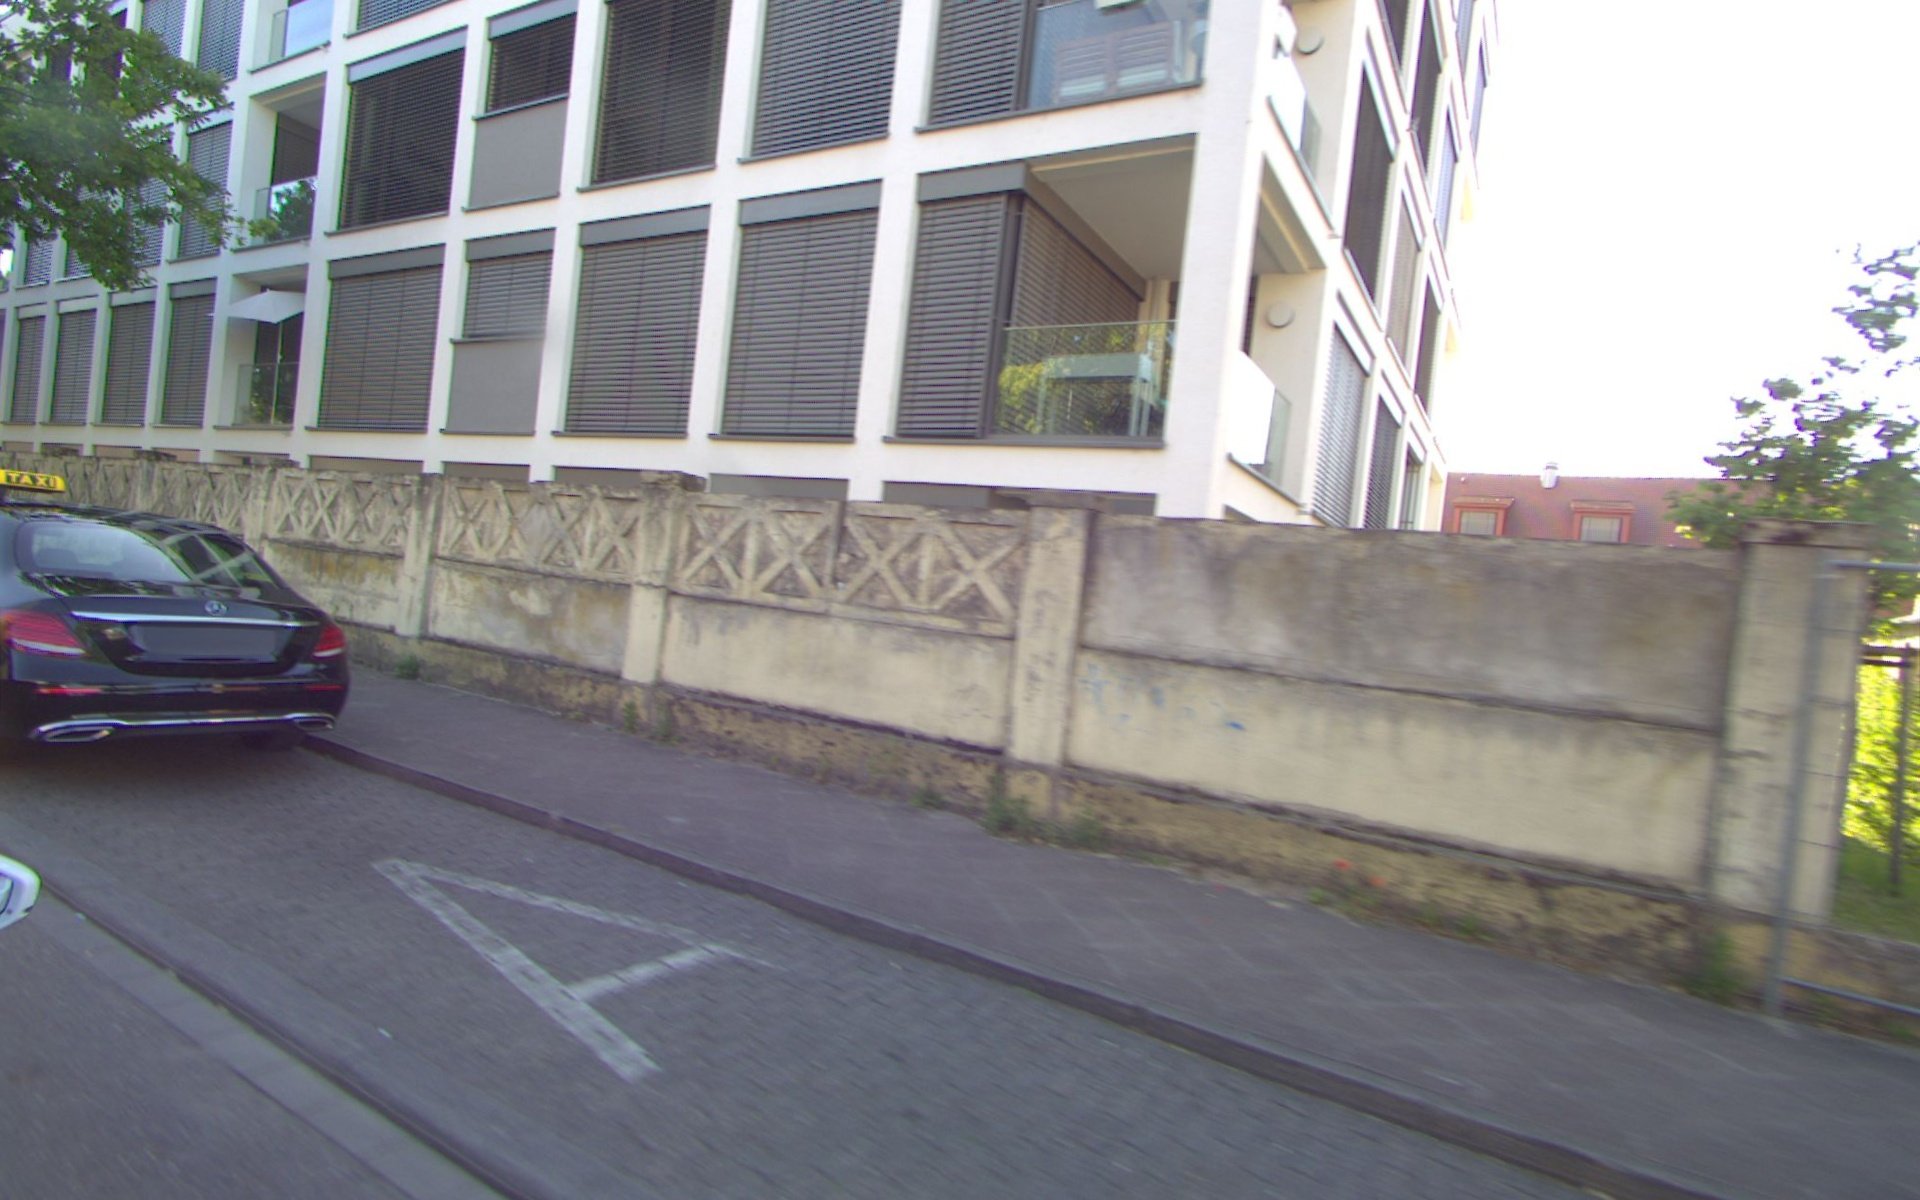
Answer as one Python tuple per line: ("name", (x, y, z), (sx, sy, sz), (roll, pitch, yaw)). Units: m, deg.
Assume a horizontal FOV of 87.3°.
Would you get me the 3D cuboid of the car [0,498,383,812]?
("car", (-5.981, 0.102, 6.581), (4.684, 1.428, 1.722), (7, 0, 32))
